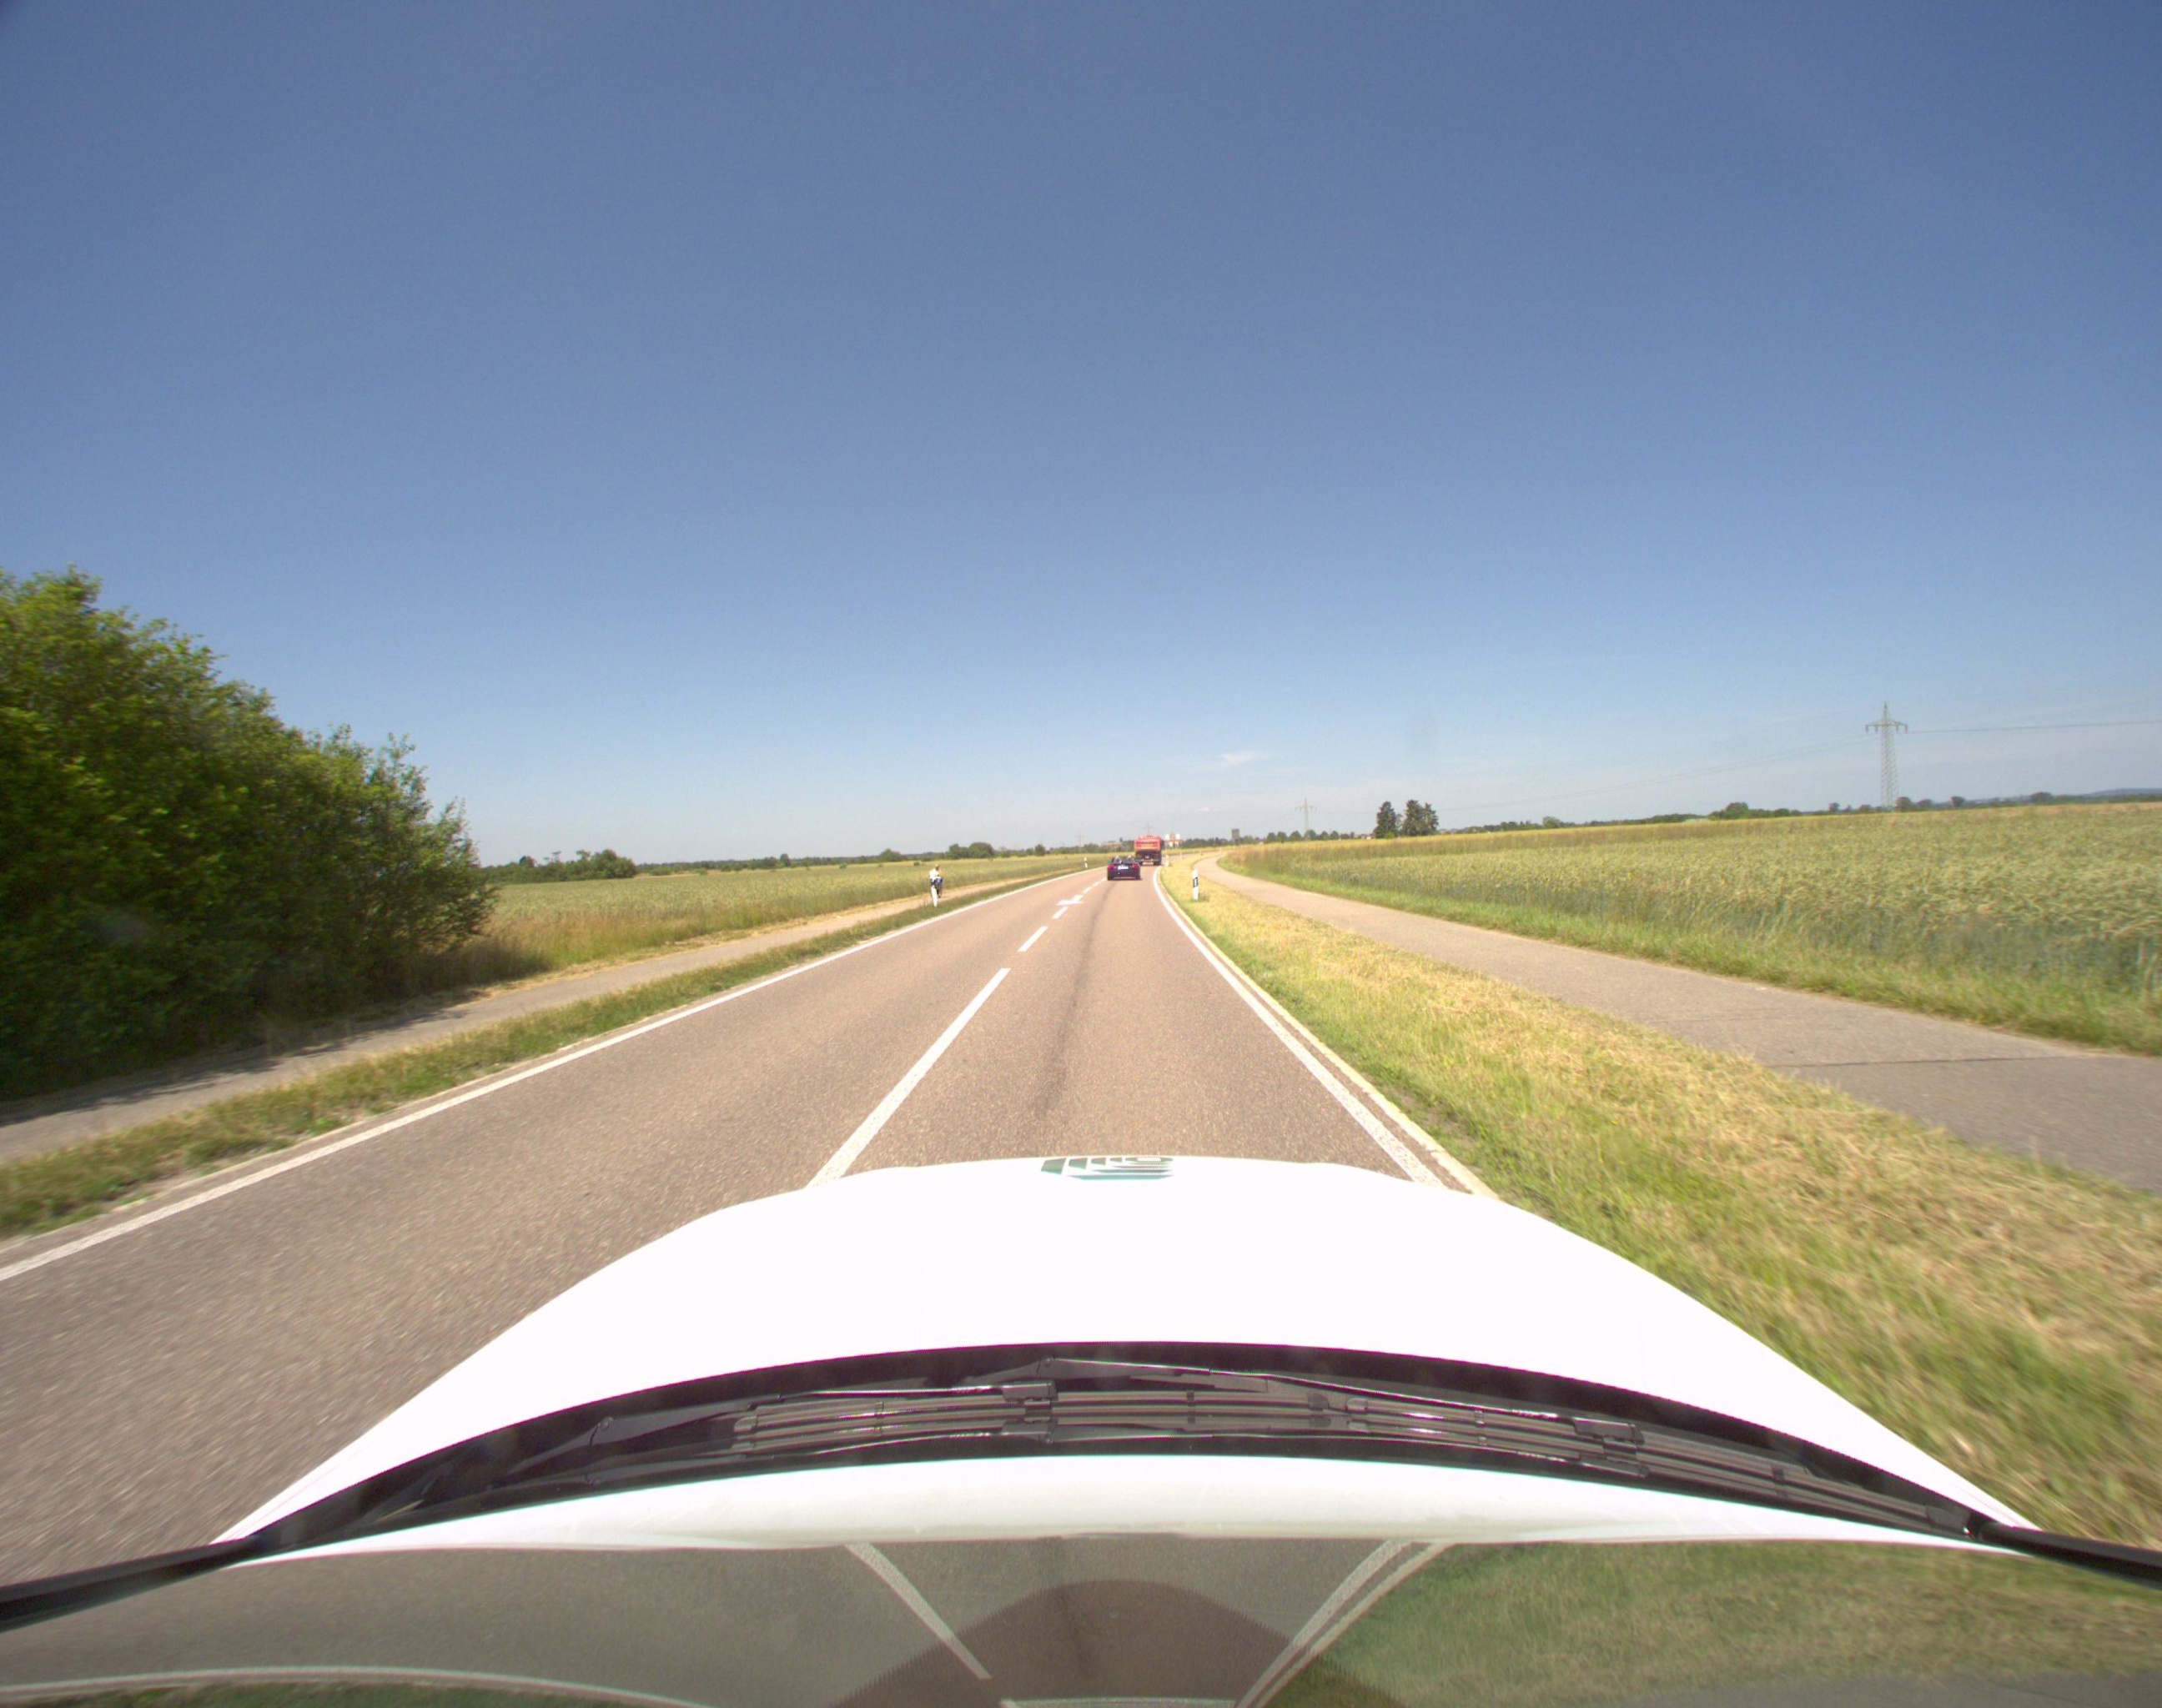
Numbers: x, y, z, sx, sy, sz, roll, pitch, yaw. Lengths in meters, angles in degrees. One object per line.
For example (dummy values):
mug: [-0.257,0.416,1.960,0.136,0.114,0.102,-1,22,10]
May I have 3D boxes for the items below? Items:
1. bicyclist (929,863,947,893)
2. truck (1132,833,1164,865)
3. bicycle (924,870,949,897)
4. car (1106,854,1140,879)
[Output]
bicyclist: [-7.114,1.185,40.444,0.661,1.438,0.824,-1,0,4]
truck: [6.926,-0.516,83.742,2.923,3.089,7.209,-2,0,7]
bicycle: [-7.116,1.438,40.278,0.691,1.176,1.966,-3,1,4]
car: [2.327,0.639,44.382,1.736,1.280,4.005,-1,0,5]
